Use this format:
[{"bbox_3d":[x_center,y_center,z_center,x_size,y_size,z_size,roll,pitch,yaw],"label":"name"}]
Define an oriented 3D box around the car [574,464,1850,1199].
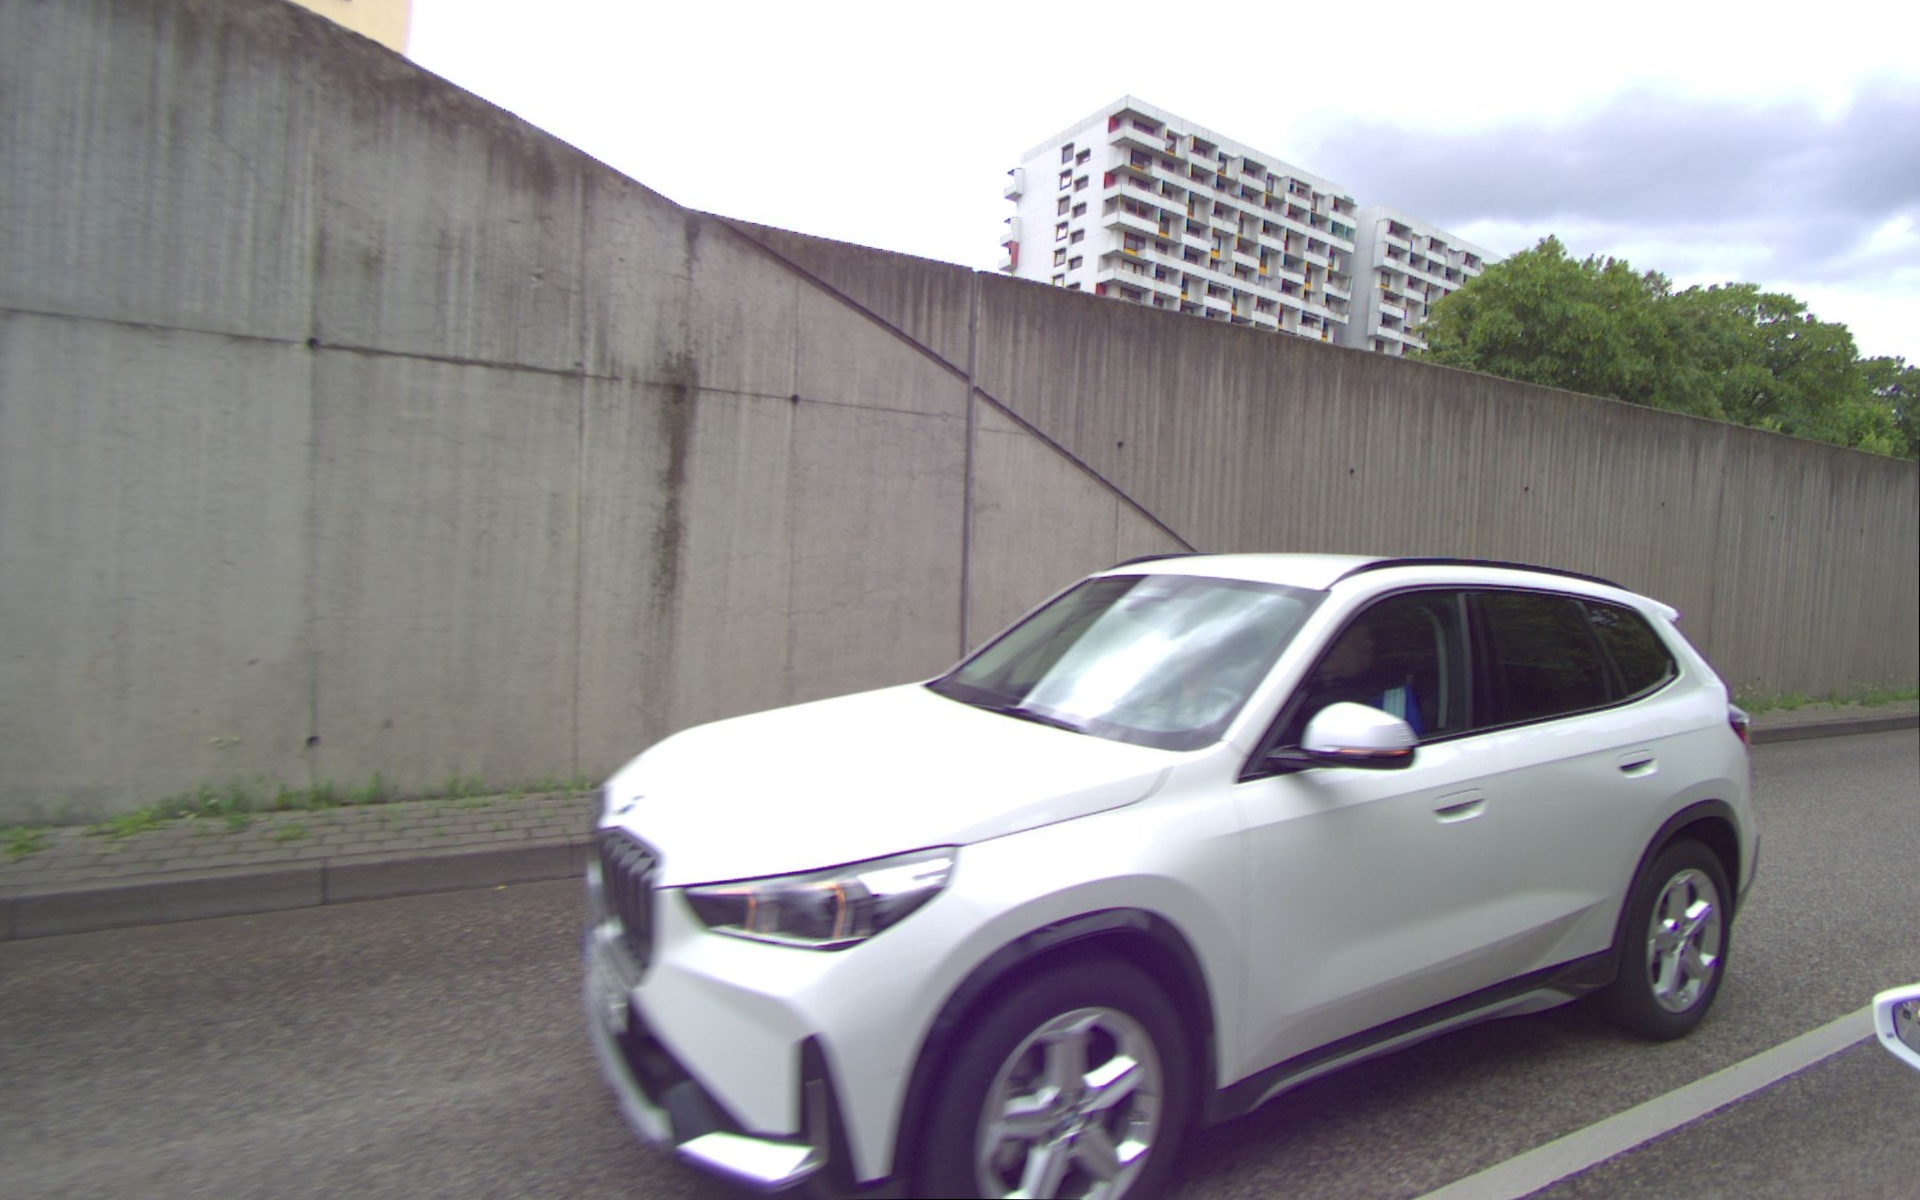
[{"bbox_3d":[1.068,0.595,3.640,4.373,1.654,1.881,1,2,-30],"label":"car"}]
